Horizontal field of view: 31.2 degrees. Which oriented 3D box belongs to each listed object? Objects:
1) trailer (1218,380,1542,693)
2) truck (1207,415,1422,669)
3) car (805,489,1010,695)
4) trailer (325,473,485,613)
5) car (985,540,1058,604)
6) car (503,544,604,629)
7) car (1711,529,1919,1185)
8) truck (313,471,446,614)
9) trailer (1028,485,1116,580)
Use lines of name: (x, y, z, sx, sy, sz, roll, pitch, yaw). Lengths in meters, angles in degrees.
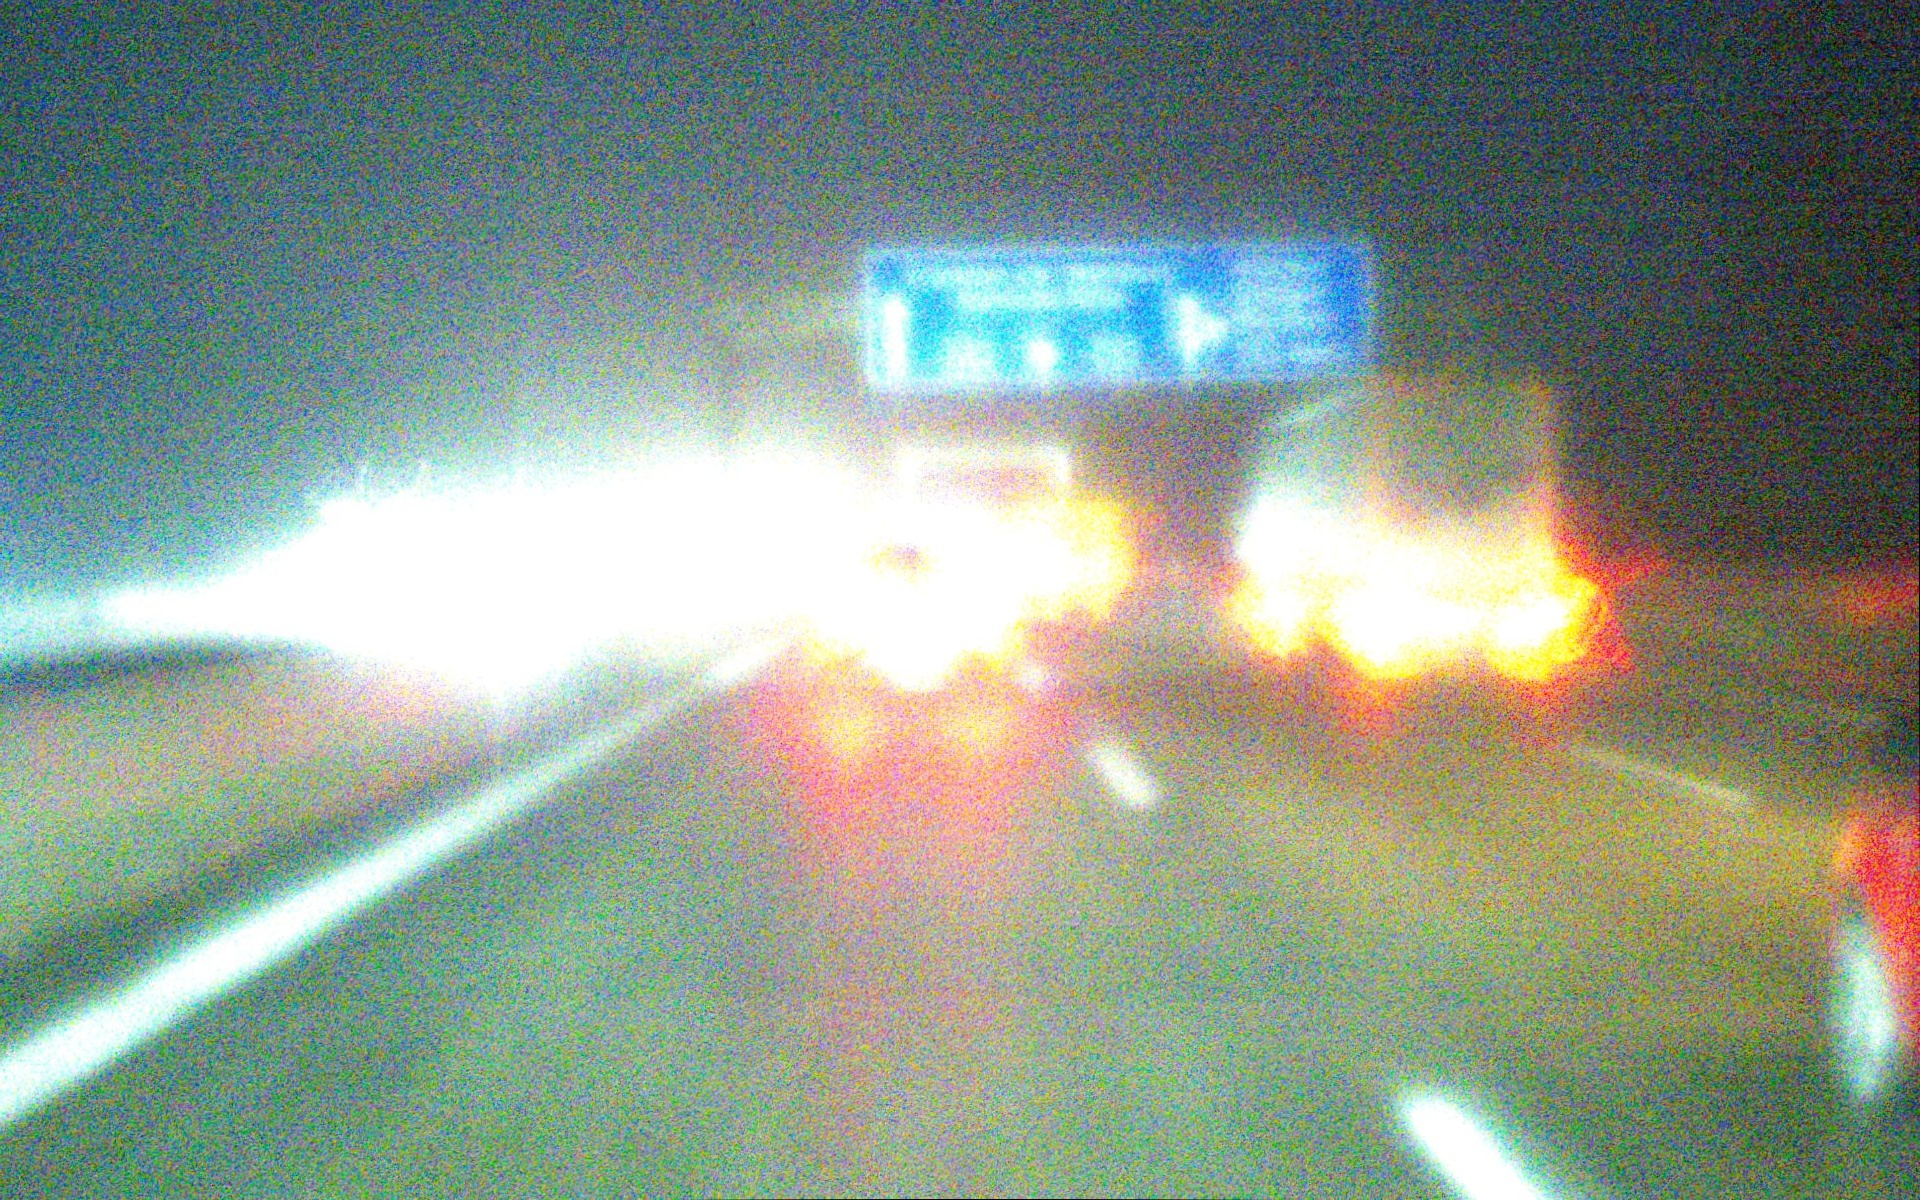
trailer: (6.162, -0.923, 53.236, 2.903, 4.094, 14.488, -2, 1, -1)
truck: (6.069, -0.983, 59.681, 2.903, 4.094, 6.031, -2, 1, -1)
car: (-0.536, -0.066, 35.506, 1.993, 2.007, 4.000, 0, 0, -1)
trailer: (-18.638, -1.885, 116.496, 2.973, 4.254, 14.863, 4, 1, -1)
car: (2.010, -0.909, 114.130, 1.993, 2.007, 4.000, -2, 0, -4)
car: (-10.042, -0.361, 85.173, 1.993, 2.007, 4.451, -1, 1, -1)
car: (3.166, 0.609, 8.054, 1.740, 1.570, 4.494, 0, 0, -1)
truck: (-18.525, -1.819, 110.051, 2.973, 4.254, 6.505, 4, 0, -1)
trailer: (5.188, -3.097, 162.119, 3.041, 4.095, 13.829, -2, 0, -2)
